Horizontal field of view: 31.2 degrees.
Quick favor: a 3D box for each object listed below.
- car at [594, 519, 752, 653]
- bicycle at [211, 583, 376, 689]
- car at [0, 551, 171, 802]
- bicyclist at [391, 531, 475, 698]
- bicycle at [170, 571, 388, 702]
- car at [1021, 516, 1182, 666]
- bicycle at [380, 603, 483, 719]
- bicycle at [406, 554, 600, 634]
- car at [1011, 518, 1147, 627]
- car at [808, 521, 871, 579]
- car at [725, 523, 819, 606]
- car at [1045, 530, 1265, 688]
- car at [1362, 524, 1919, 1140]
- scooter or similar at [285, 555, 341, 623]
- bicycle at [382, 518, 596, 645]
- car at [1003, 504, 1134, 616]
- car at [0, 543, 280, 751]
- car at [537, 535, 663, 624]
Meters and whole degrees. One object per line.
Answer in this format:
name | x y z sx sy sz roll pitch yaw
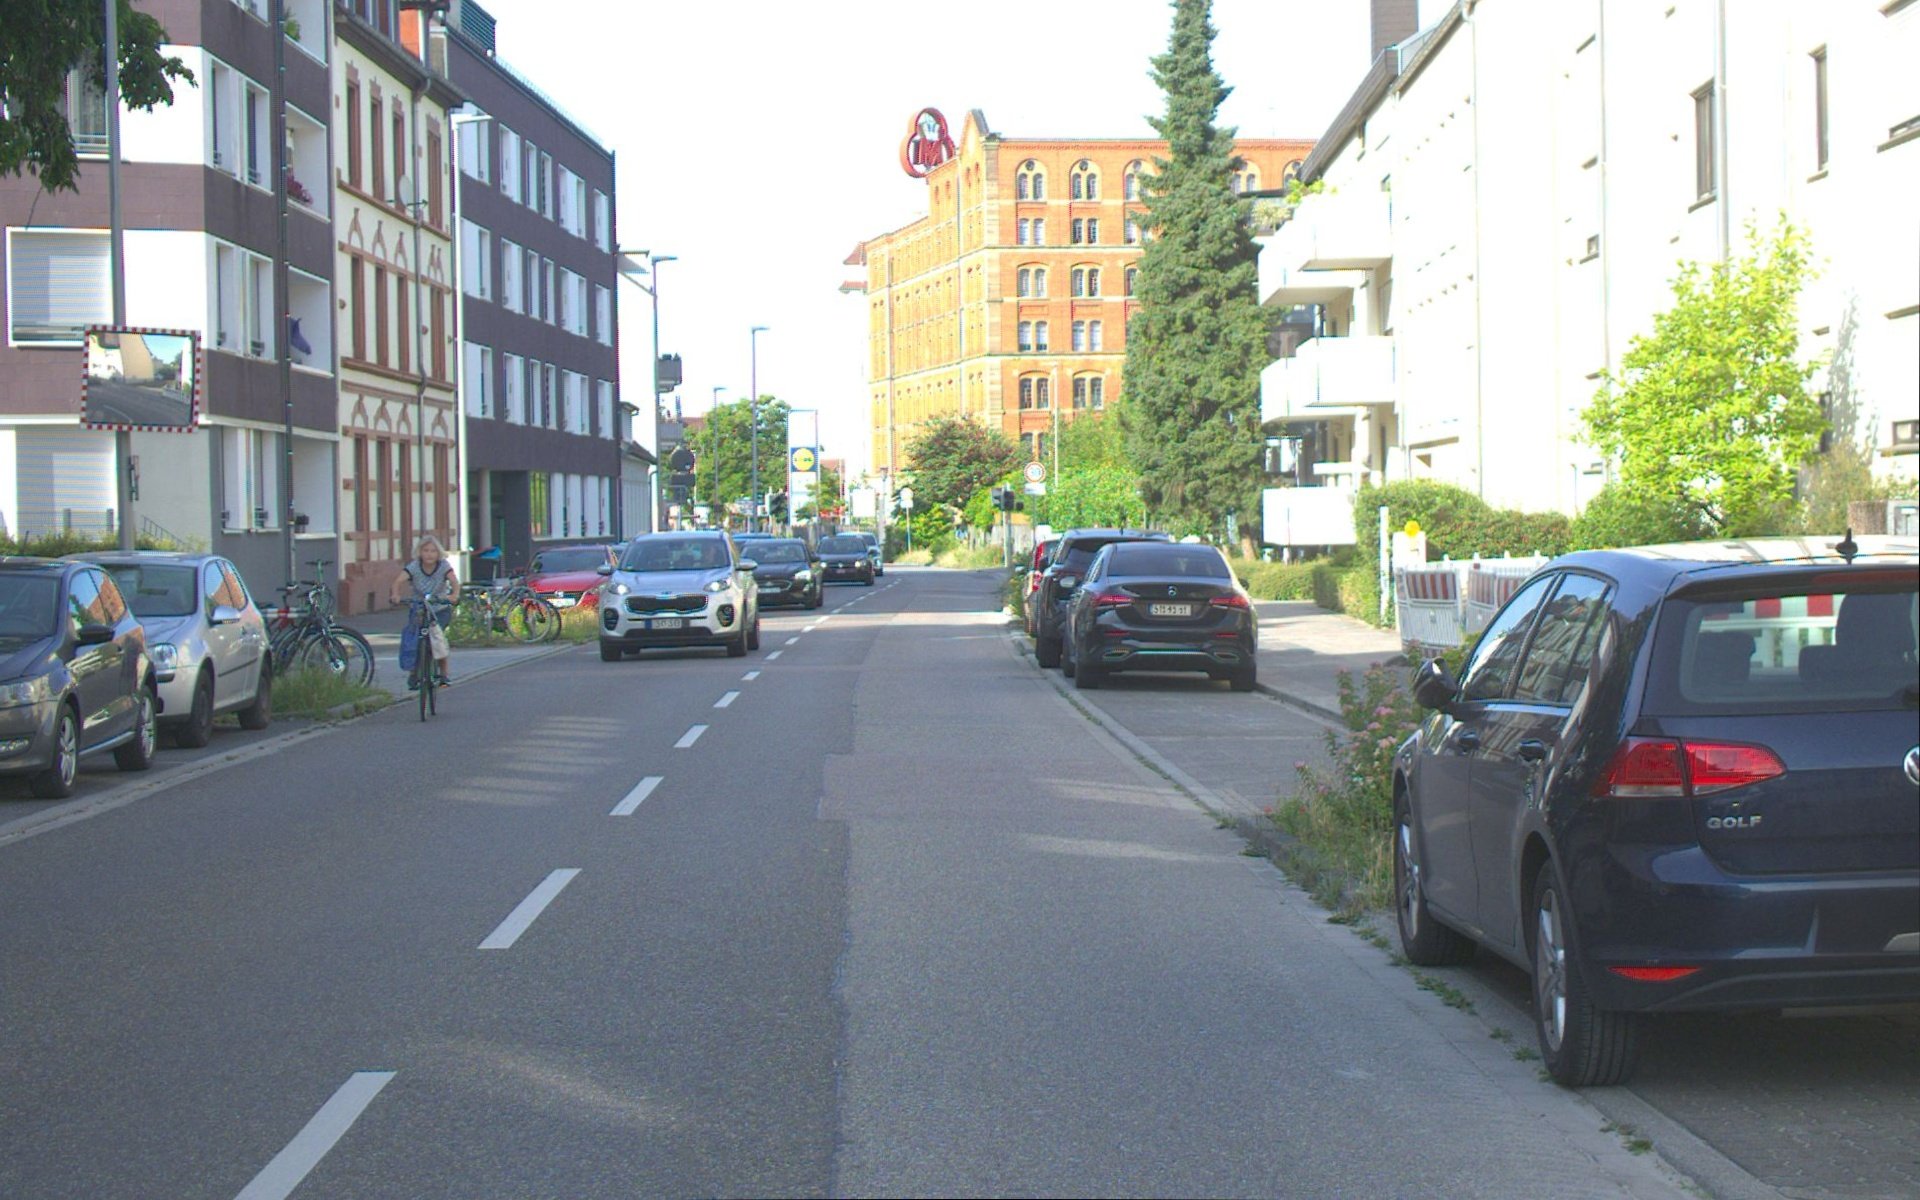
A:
car | -3.688 -0.217 44.729 1.763 1.610 4.000 -2 1 -1
bicycle | -6.768 0.359 34.961 1.584 1.037 0.708 -1 1 -6
car | -6.145 0.419 21.655 1.573 1.415 3.804 0 1 -2
bicyclist | -4.621 0.120 30.156 0.591 1.437 0.750 -1 1 0
bicycle | -6.595 0.343 33.372 2.000 1.213 0.708 -1 1 -6
car | 1.610 -0.132 40.096 1.601 1.640 3.685 -1 1 -1
bicycle | -4.616 0.517 30.124 0.608 0.939 1.811 -1 1 0
bicycle | -6.892 -0.097 51.975 2.773 1.140 1.143 -1 1 0
car | 1.761 -0.434 51.845 1.763 1.521 4.000 -2 1 -1
car | -3.482 -1.461 100.079 1.763 1.610 4.000 -2 1 -1
car | -3.834 -0.748 70.527 1.763 1.610 4.000 -2 1 -1
car | 1.916 0.048 34.884 1.859 1.467 4.000 -1 1 -2
car | 2.402 0.531 10.479 1.830 1.477 3.943 -2 1 0
scooter or similar | -10.827 -0.191 57.532 0.633 1.100 1.610 1 1 -1
bicycle | -6.862 -0.281 50.199 2.918 1.771 1.202 -1 1 0
car | 1.767 -0.684 57.248 1.993 1.766 4.000 -1 1 -1
car | -6.540 0.311 27.246 1.676 1.496 4.001 -1 1 -3
car | -6.224 -0.376 59.714 1.840 1.459 3.585 -1 1 -1
